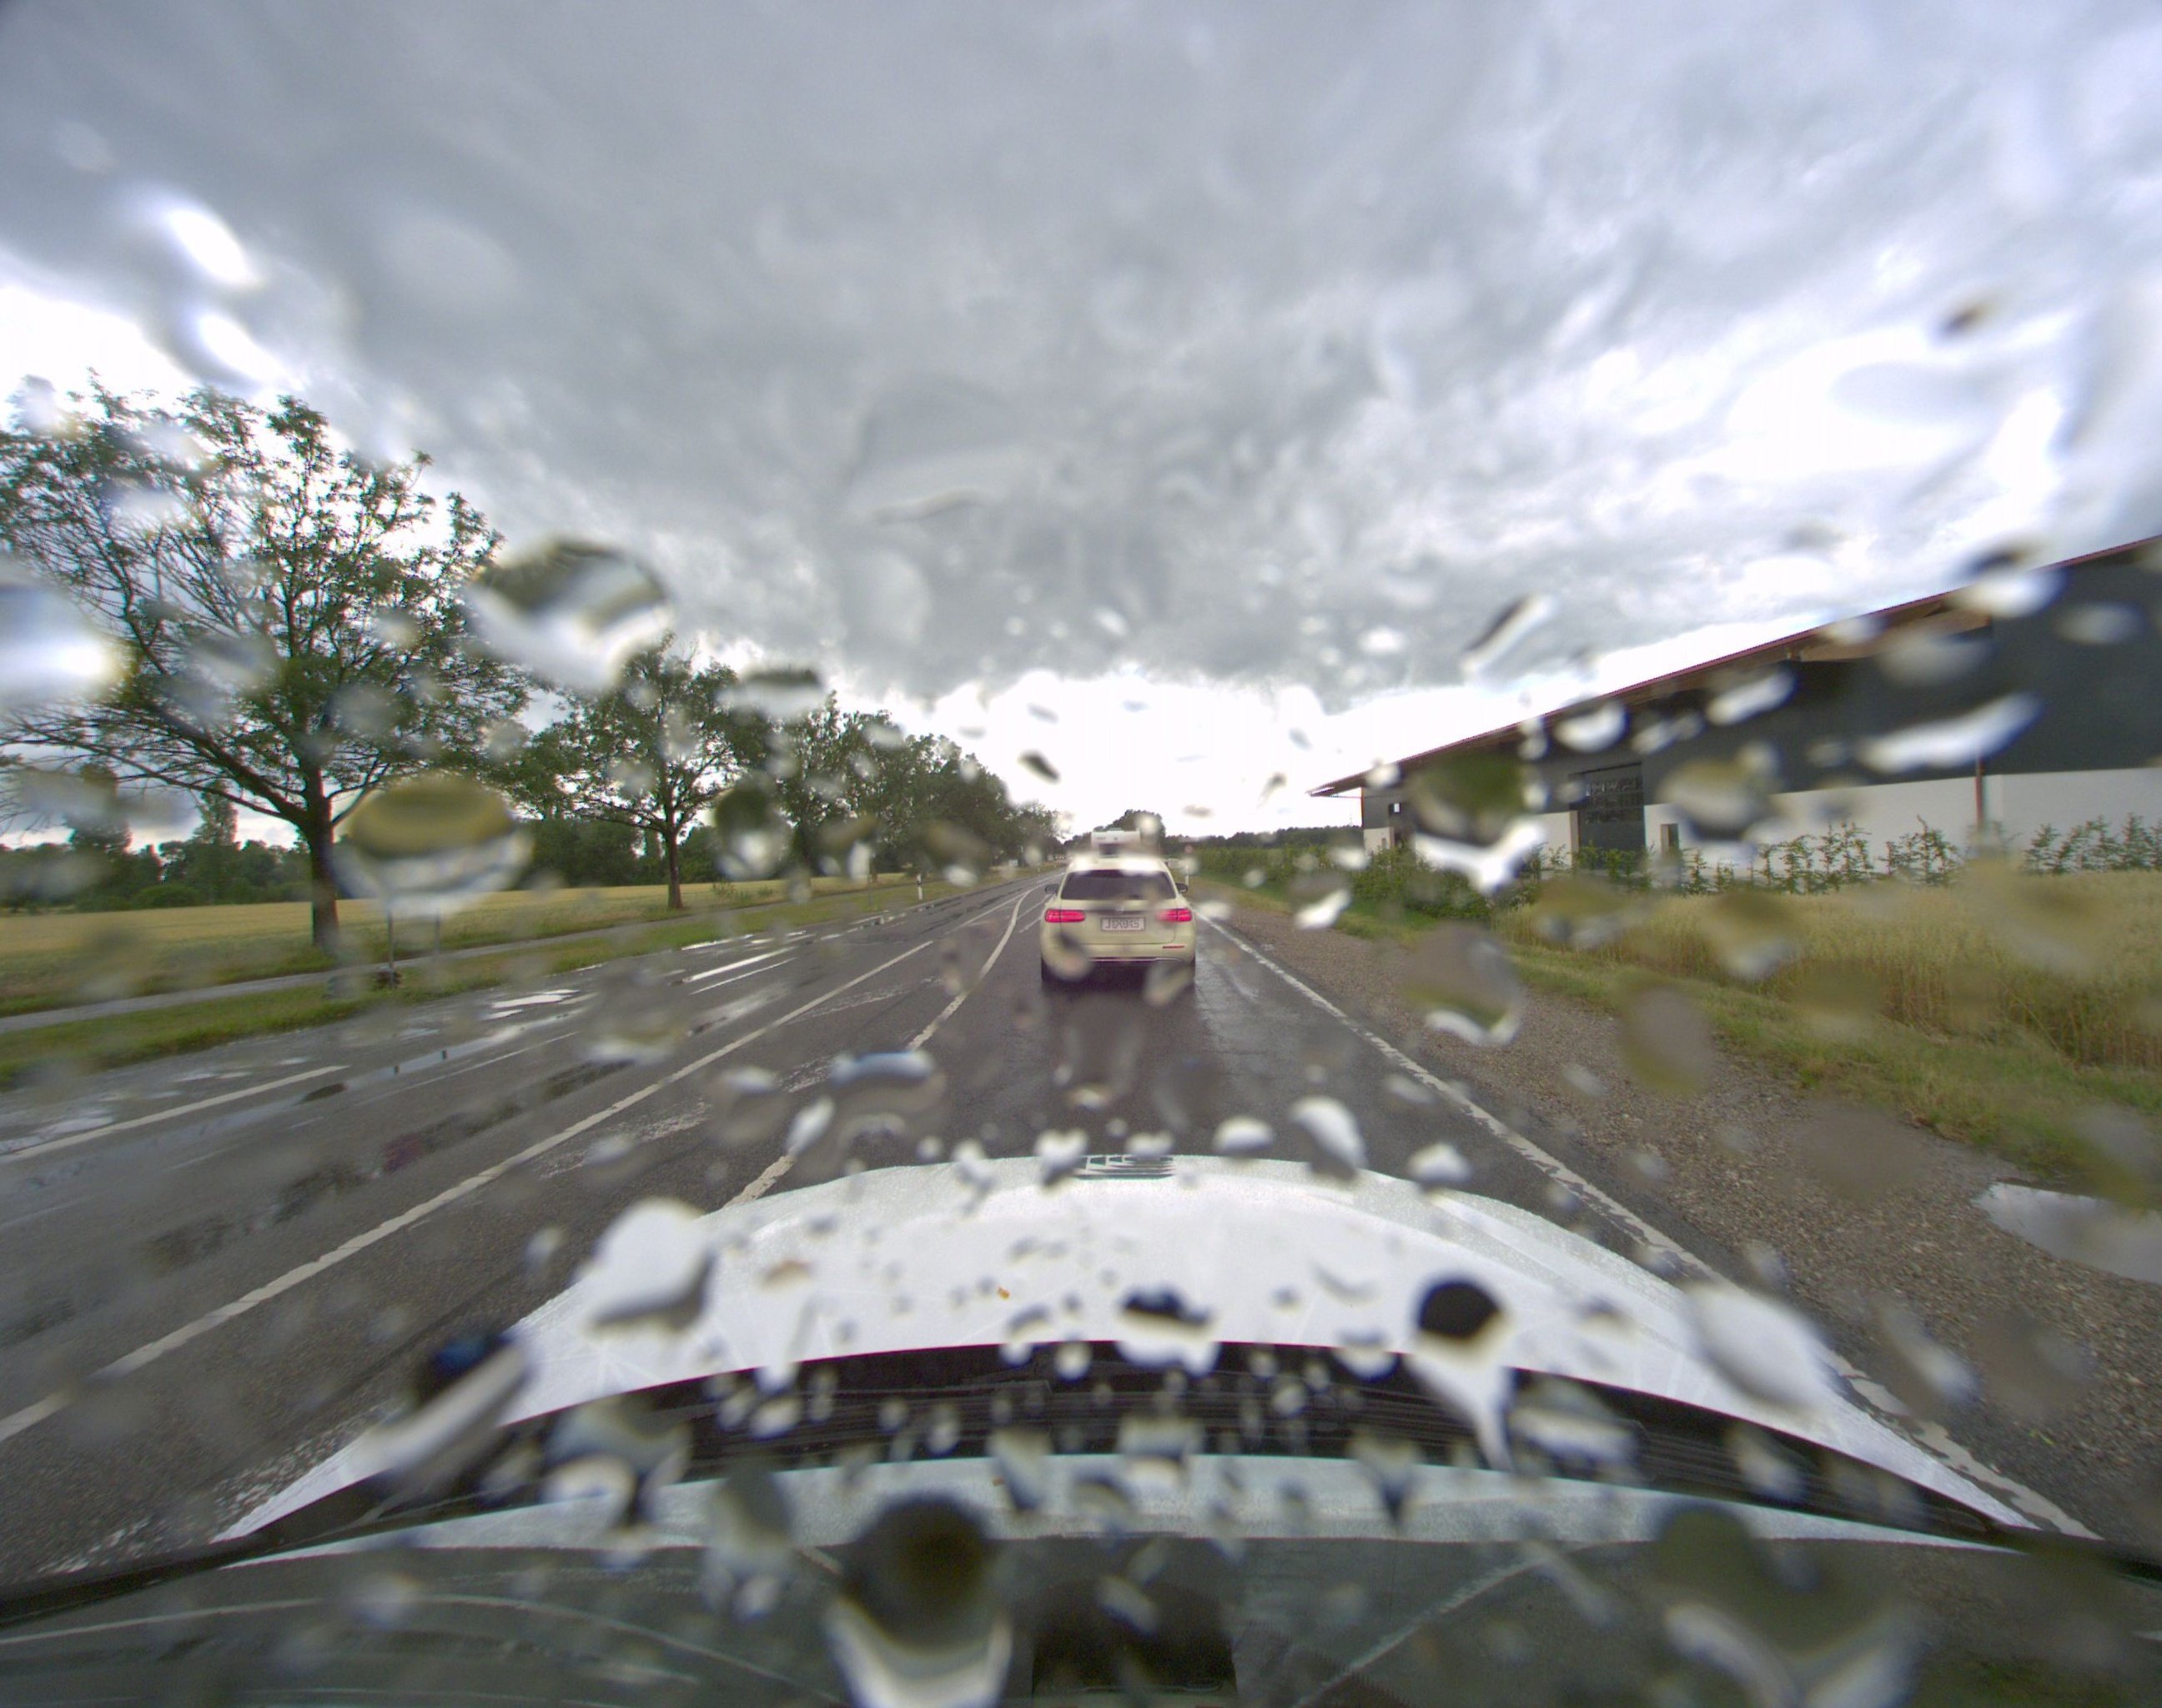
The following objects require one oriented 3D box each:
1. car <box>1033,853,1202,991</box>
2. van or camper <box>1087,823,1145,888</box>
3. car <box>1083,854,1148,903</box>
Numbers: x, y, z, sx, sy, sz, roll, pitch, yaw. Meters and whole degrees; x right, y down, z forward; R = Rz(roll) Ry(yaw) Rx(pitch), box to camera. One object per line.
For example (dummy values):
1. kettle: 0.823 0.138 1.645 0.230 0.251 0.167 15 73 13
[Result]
1. car: 0.485 0.727 10.758 1.790 1.464 4.033 -1 0 2
2. van or camper: 1.763 0.078 40.053 2.487 2.831 5.938 -3 0 3
3. car: 1.092 0.722 26.156 1.887 1.429 3.929 -1 0 2
